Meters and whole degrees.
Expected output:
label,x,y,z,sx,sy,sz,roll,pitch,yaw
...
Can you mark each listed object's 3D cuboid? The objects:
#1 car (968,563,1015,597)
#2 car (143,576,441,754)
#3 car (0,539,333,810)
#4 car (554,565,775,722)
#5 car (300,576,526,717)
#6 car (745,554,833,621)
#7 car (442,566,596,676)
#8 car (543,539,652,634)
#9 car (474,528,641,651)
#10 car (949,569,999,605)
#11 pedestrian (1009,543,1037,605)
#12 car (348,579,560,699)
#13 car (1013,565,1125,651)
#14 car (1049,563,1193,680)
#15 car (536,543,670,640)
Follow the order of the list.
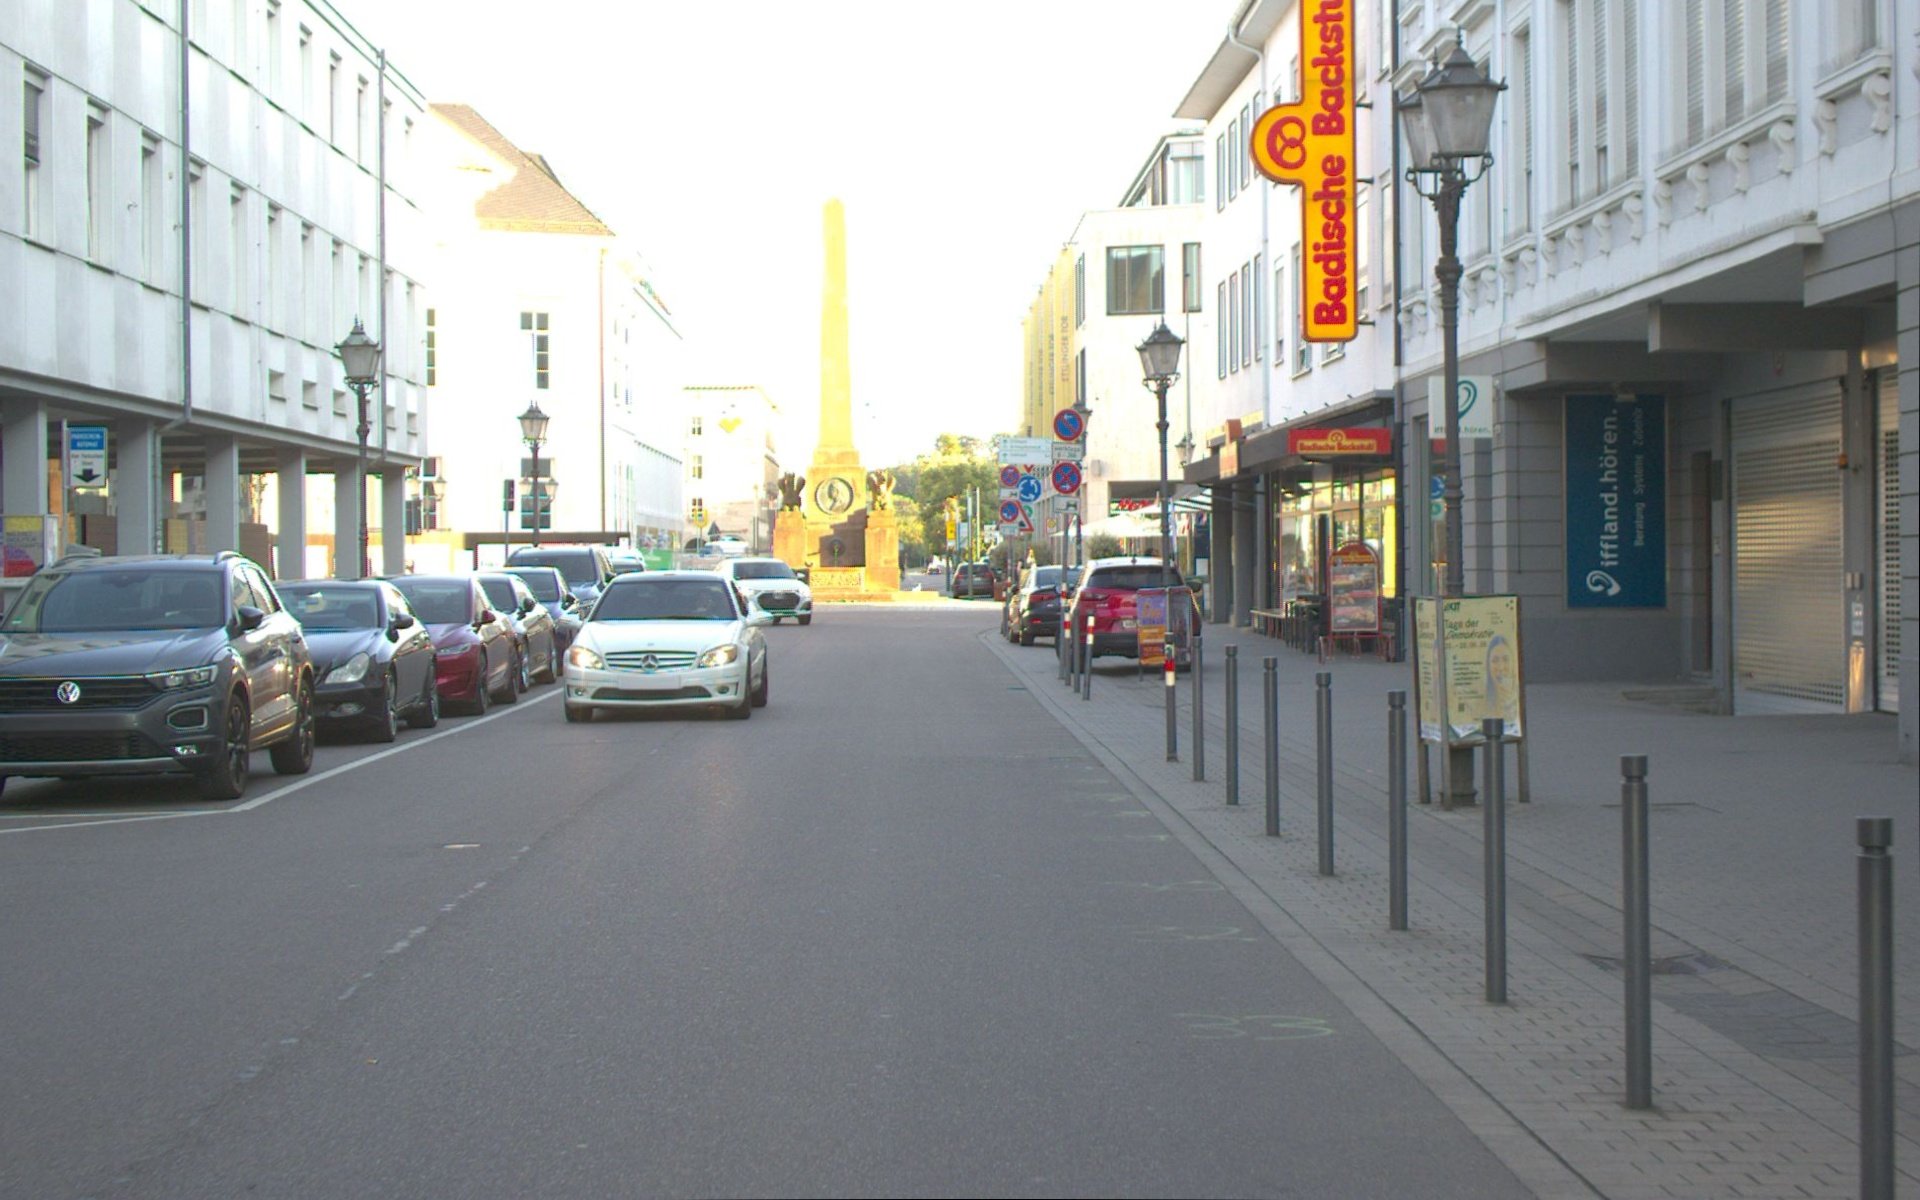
label,x,y,z,sx,sy,sz,roll,pitch,yaw
car,1.388,-0.873,150.755,1.993,1.459,4.000,-1,1,1
car,-5.715,0.513,29.866,1.785,1.404,4.088,-1,1,0
car,-5.409,0.426,22.652,1.785,1.609,4.166,-1,1,0
car,-2.816,0.377,33.508,1.785,1.404,4.088,-1,1,0
car,-5.864,0.465,37.252,1.785,1.404,4.088,-1,1,0
car,-3.742,-0.293,75.672,1.764,1.417,4.000,0,1,-1
car,-5.973,0.248,46.873,1.673,1.395,4.000,-1,1,-2
car,-7.215,-0.282,68.130,1.993,1.809,4.785,0,1,-8
car,-6.061,-0.177,52.232,1.993,1.722,4.516,-2,1,-1
car,0.590,-0.551,142.278,1.993,1.459,4.000,-1,1,1
pedestrian,1.672,-0.695,91.296,0.690,1.642,0.696,-1,1,-1
car,-6.014,0.434,41.286,1.993,1.349,4.000,0,1,-1
car,1.881,0.109,60.618,1.801,1.459,4.117,0,1,-1
car,2.150,0.256,46.769,1.759,1.518,3.677,0,1,-1
car,-6.262,-0.166,60.672,1.993,1.656,4.000,0,1,-1
